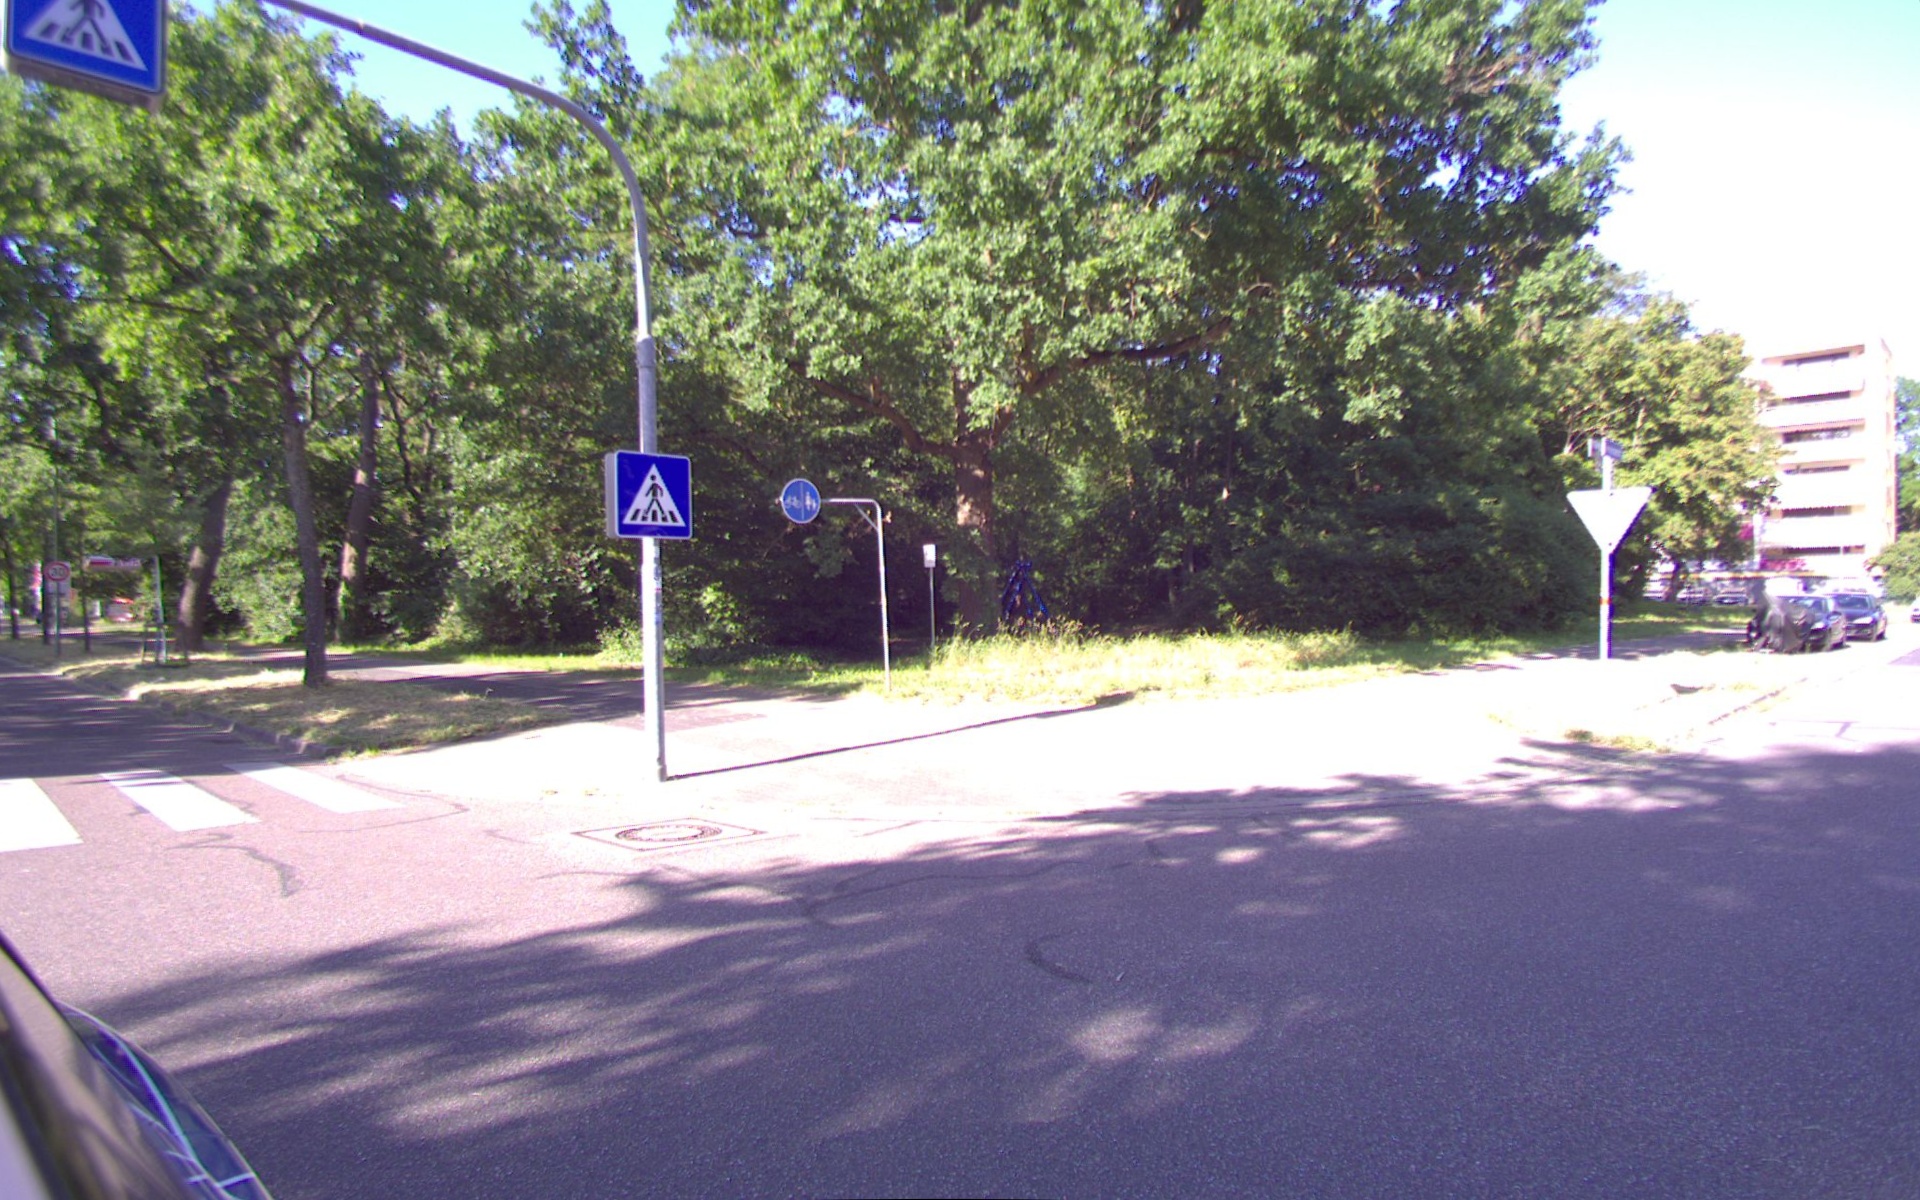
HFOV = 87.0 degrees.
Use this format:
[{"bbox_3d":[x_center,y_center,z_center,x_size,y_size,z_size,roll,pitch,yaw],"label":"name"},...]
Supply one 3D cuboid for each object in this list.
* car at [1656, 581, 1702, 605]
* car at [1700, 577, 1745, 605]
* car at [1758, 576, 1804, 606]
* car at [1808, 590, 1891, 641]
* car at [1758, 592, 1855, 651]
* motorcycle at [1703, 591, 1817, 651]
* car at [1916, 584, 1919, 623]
[{"bbox_3d":[48.006,-0.483,67.562,3.779,1.538,1.802,-1,0,-44],"label":"car"},{"bbox_3d":[49.882,-0.595,66.161,3.779,1.757,1.764,-1,0,-44],"label":"car"},{"bbox_3d":[51.675,-0.574,63.696,3.779,1.757,1.764,-1,0,-44],"label":"car"},{"bbox_3d":[26.701,0.443,30.354,3.535,1.402,1.561,-1,0,-44],"label":"car"},{"bbox_3d":[22.110,0.518,26.401,3.535,1.402,1.561,-1,0,-44],"label":"car"},{"bbox_3d":[18.686,0.485,23.669,1.944,1.354,0.672,-1,0,16],"label":"motorcycle"},{"bbox_3d":[41.479,0.113,42.543,3.779,1.569,1.647,-1,0,-44],"label":"car"}]
